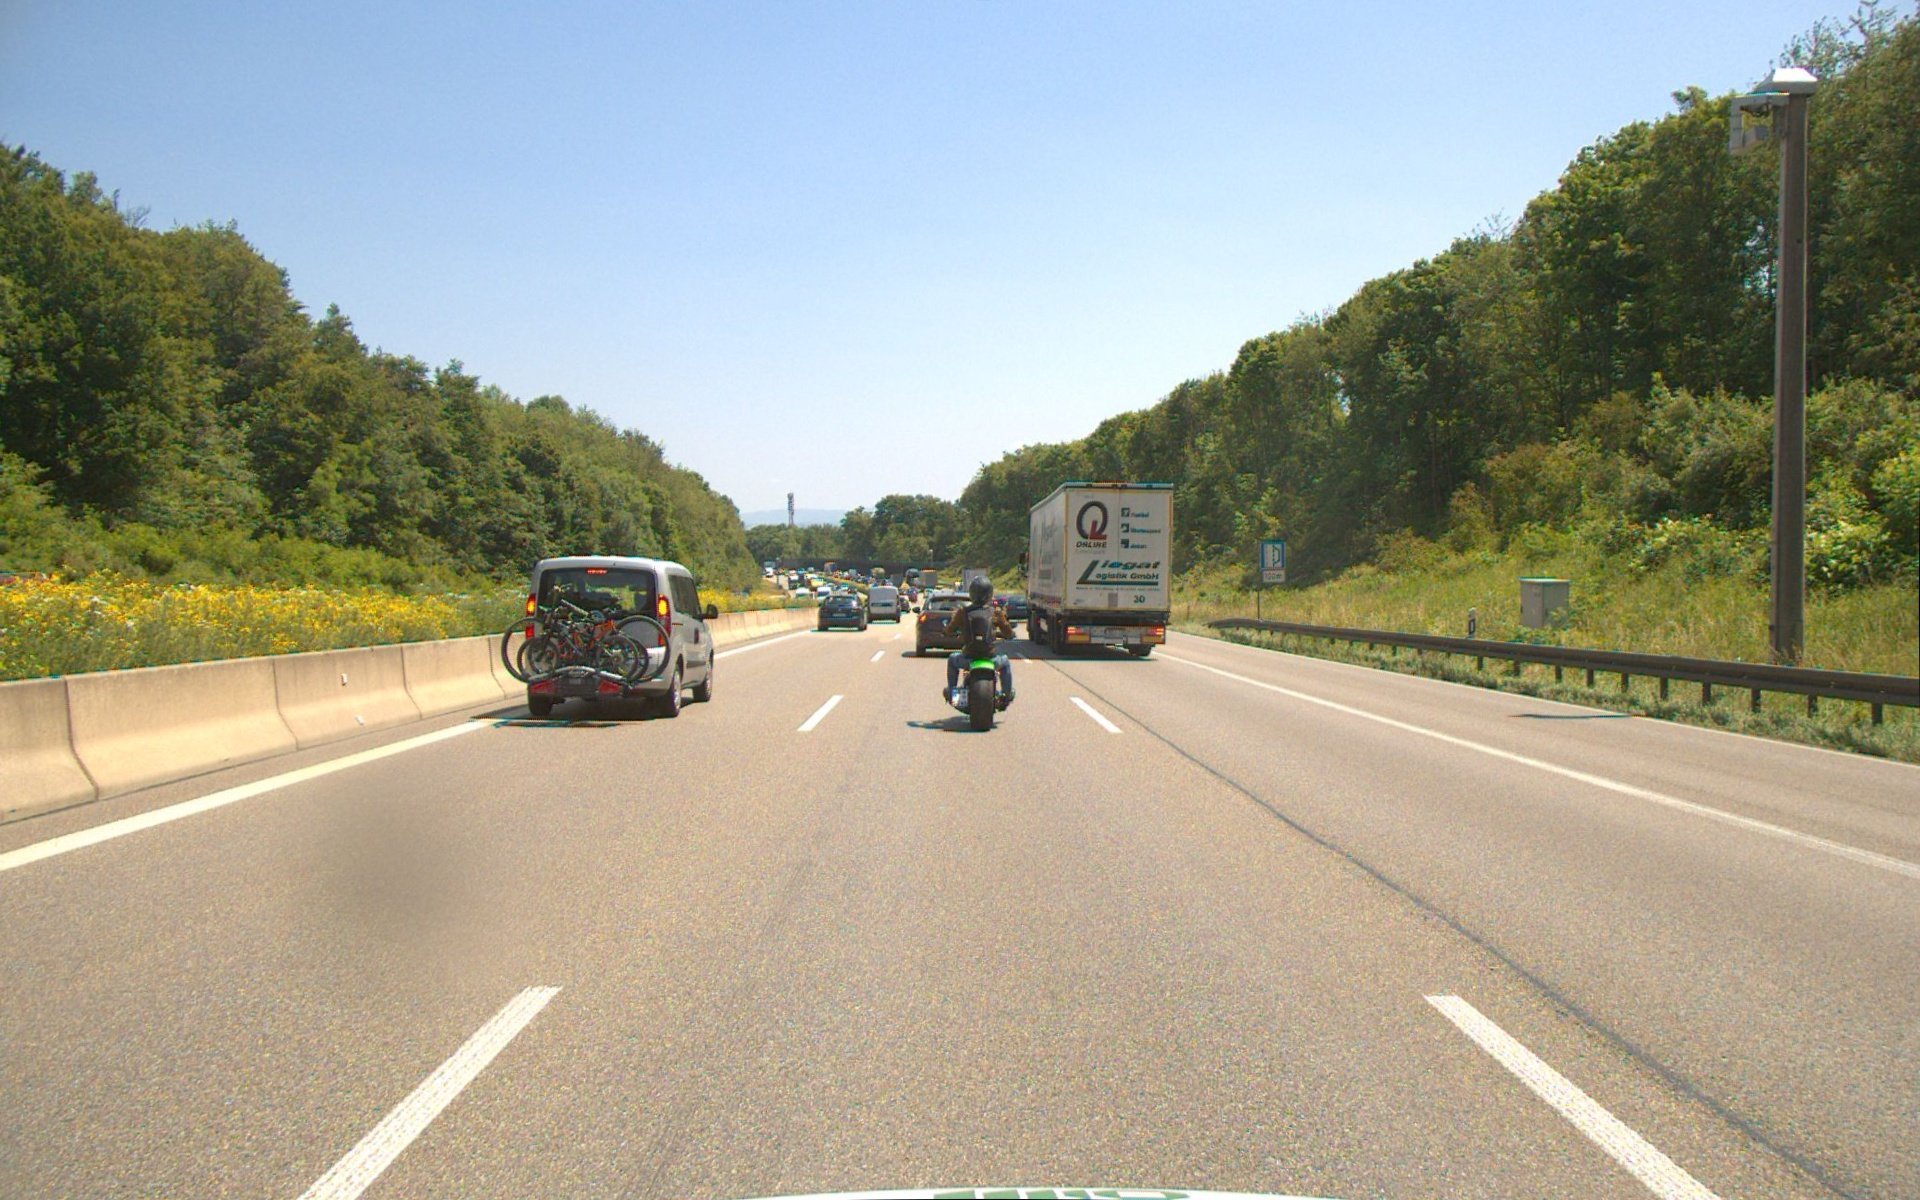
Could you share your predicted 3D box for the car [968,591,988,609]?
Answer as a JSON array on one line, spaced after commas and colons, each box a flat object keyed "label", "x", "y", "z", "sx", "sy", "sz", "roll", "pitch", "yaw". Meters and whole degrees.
[{"label": "car", "x": 1.780, "y": -0.023, "z": 160.797, "sx": 1.794, "sy": 1.585, "sz": 4.119, "roll": 1, "pitch": 2, "yaw": -1}]

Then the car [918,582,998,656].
[{"label": "car", "x": -0.097, "y": 0.421, "z": 39.995, "sx": 1.808, "sy": 1.584, "sz": 4.439, "roll": 1, "pitch": 2, "yaw": -1}]

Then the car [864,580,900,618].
[{"label": "car", "x": -4.084, "y": -0.067, "z": 86.964, "sx": 1.794, "sy": 1.842, "sz": 4.119, "roll": 1, "pitch": 2, "yaw": -1}]

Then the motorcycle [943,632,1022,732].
[{"label": "motorcycle", "x": 0.244, "y": 0.895, "z": 18.726, "sx": 0.844, "sy": 0.999, "sz": 2.131, "roll": 0, "pitch": 1, "yaw": 0}]

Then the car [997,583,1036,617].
[{"label": "car", "x": 2.876, "y": -0.019, "z": 84.693, "sx": 1.794, "sy": 1.585, "sz": 4.119, "roll": 1, "pitch": 2, "yaw": -1}]

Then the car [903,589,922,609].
[{"label": "car", "x": -4.694, "y": -0.111, "z": 163.844, "sx": 1.794, "sy": 1.842, "sz": 4.119, "roll": 1, "pitch": 2, "yaw": -1}]

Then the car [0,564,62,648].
[{"label": "car", "x": -22.044, "y": 0.098, "z": 36.396, "sx": 1.952, "sy": 1.839, "sz": 4.654, "roll": 2, "pitch": 0, "yaw": 0}]

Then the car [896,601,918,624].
[{"label": "car", "x": -4.487, "y": 1.058, "z": 141.179, "sx": 1.794, "sy": 1.842, "sz": 4.119, "roll": 1, "pitch": 2, "yaw": -1}]

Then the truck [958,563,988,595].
[{"label": "truck", "x": 1.378, "y": -2.364, "z": 181.633, "sx": 3.005, "sy": 3.404, "sz": 9.651, "roll": 2, "pitch": 1, "yaw": -1}]

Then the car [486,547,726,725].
[{"label": "car", "x": -4.158, "y": 0.377, "z": 20.360, "sx": 1.860, "sy": 1.880, "sz": 5.482, "roll": 1, "pitch": 0, "yaw": -1}]

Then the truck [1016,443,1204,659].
[{"label": "truck", "x": 3.706, "y": -1.316, "z": 46.404, "sx": 3.314, "sy": 4.800, "sz": 17.707, "roll": 2, "pitch": 1, "yaw": -1}]

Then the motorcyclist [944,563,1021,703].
[{"label": "motorcyclist", "x": 0.245, "y": 0.358, "z": 18.620, "sx": 0.838, "sy": 1.541, "sz": 0.914, "roll": 0, "pitch": 0, "yaw": 0}]

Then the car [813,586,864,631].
[{"label": "car", "x": -4.732, "y": 0.299, "z": 64.836, "sx": 1.722, "sy": 1.570, "sz": 4.395, "roll": 1, "pitch": 2, "yaw": -1}]

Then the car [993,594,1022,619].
[{"label": "car", "x": 3.281, "y": 0.456, "z": 114.204, "sx": 1.794, "sy": 1.585, "sz": 4.119, "roll": 1, "pitch": 2, "yaw": -1}]

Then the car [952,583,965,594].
[{"label": "car", "x": -0.219, "y": -1.658, "z": 236.693, "sx": 1.794, "sy": 1.585, "sz": 4.119, "roll": 1, "pitch": 2, "yaw": -1}]
